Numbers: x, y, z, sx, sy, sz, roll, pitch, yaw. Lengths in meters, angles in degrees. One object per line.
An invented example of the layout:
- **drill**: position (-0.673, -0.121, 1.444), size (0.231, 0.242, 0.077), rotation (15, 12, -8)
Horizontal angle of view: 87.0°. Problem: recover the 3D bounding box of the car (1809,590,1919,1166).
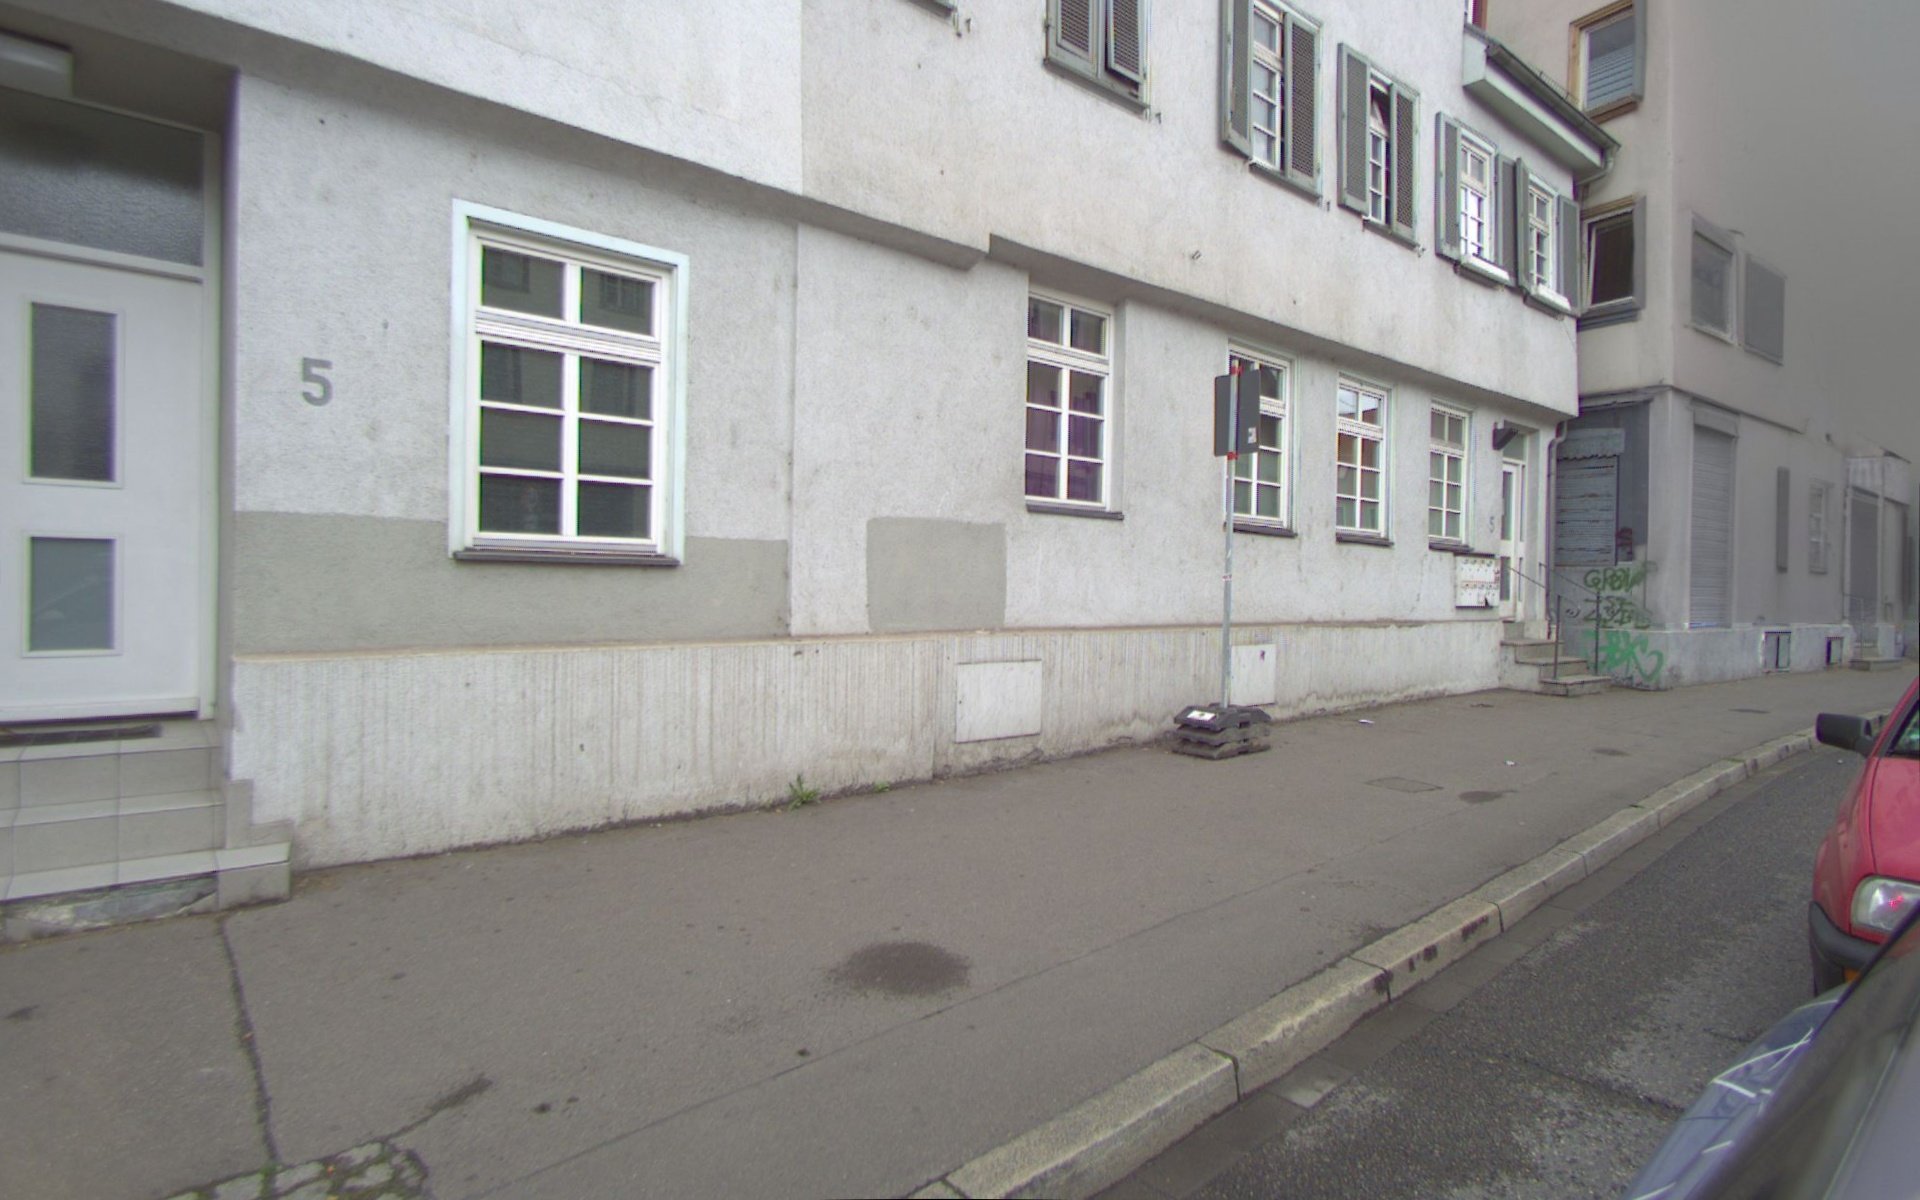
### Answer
- **car**: position (4.423, 0.724, 3.482), size (3.932, 1.443, 1.790), rotation (-2, 2, -42)
